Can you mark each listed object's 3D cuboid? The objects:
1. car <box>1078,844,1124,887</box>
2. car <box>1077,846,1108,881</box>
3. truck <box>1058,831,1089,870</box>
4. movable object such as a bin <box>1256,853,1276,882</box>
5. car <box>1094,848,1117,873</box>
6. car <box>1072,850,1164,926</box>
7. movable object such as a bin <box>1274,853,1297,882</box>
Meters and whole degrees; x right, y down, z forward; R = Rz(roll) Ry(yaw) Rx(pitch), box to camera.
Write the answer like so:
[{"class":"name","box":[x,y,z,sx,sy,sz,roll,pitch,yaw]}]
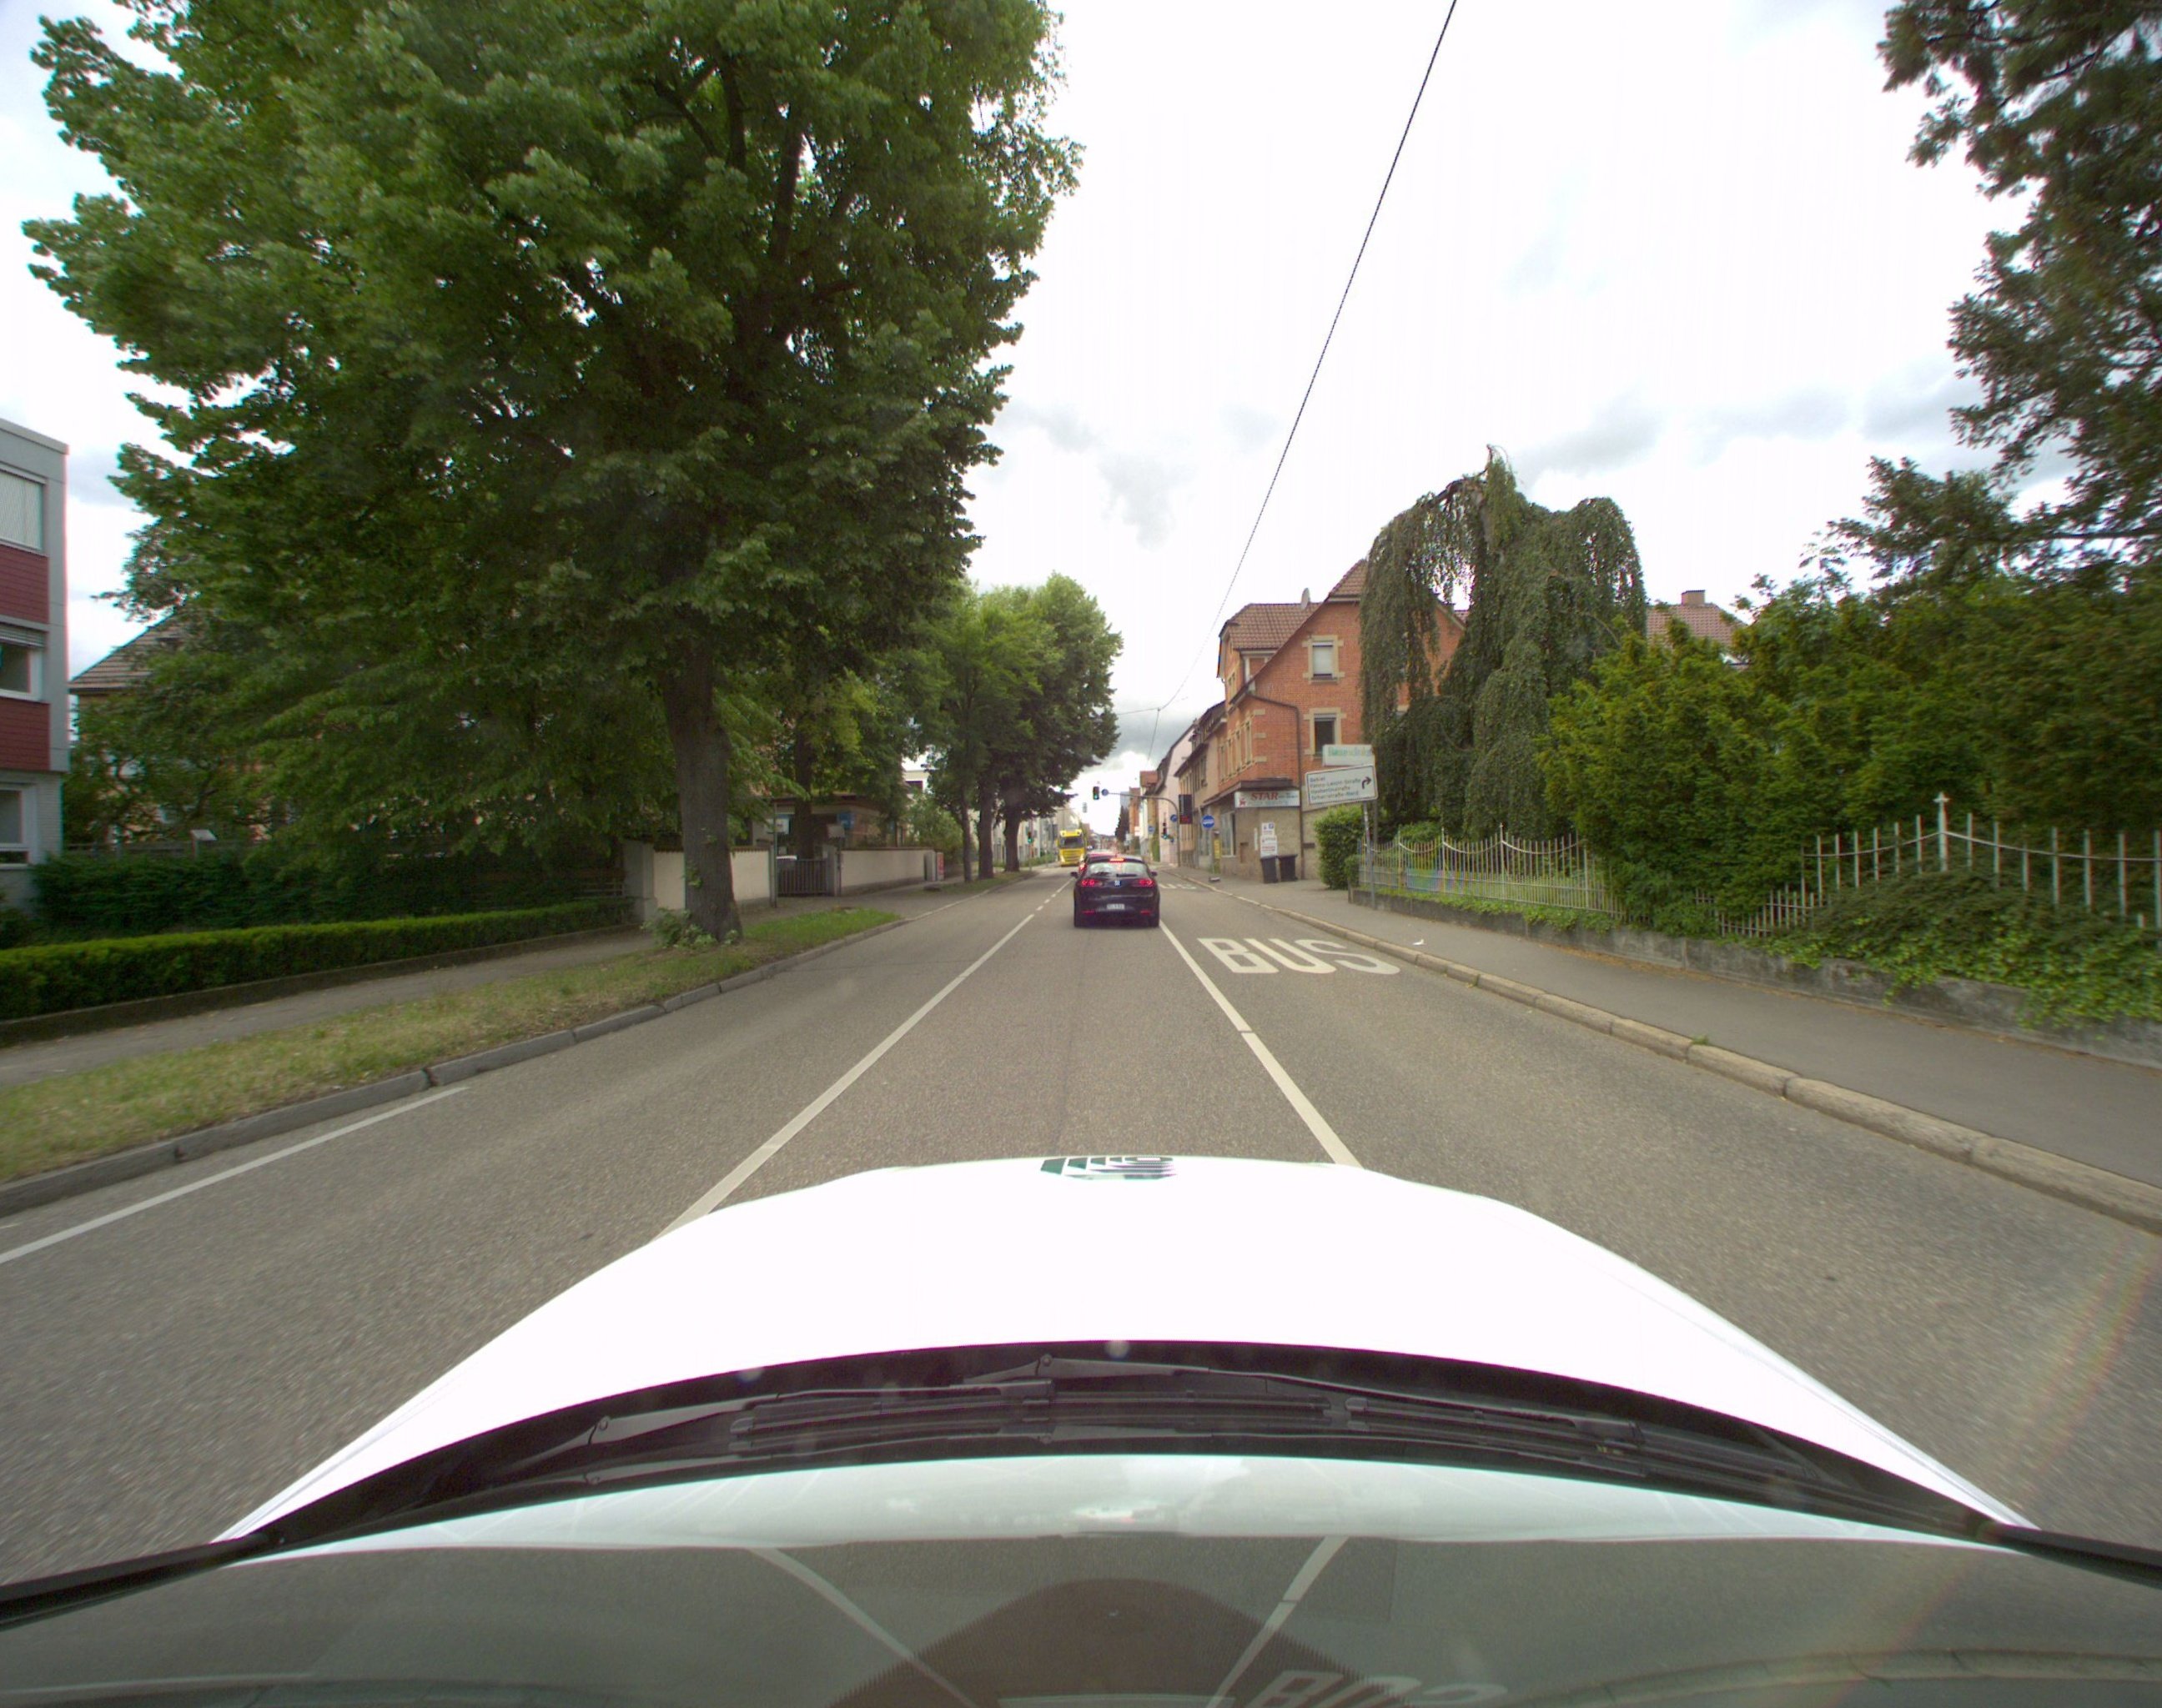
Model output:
[{"class":"car","box":[0.850,0.476,34.326,1.836,1.693,4.001,0,0,1]},{"class":"car","box":[0.621,0.470,41.946,1.526,1.693,3.694,0,0,1]},{"class":"truck","box":[-0.691,-0.335,83.751,2.833,3.782,7.673,0,-1,2]},{"class":"movable object such as a bin","box":[7.148,0.524,31.446,0.604,1.101,0.623,-3,-1,2]},{"class":"car","box":[1.698,0.444,56.634,1.526,1.693,3.694,0,0,1]},{"class":"car","box":[0.766,0.664,17.587,1.752,1.442,4.001,0,0,2]},{"class":"movable object such as a bin","box":[7.893,0.512,31.488,0.696,1.059,0.724,-3,-1,2]}]
